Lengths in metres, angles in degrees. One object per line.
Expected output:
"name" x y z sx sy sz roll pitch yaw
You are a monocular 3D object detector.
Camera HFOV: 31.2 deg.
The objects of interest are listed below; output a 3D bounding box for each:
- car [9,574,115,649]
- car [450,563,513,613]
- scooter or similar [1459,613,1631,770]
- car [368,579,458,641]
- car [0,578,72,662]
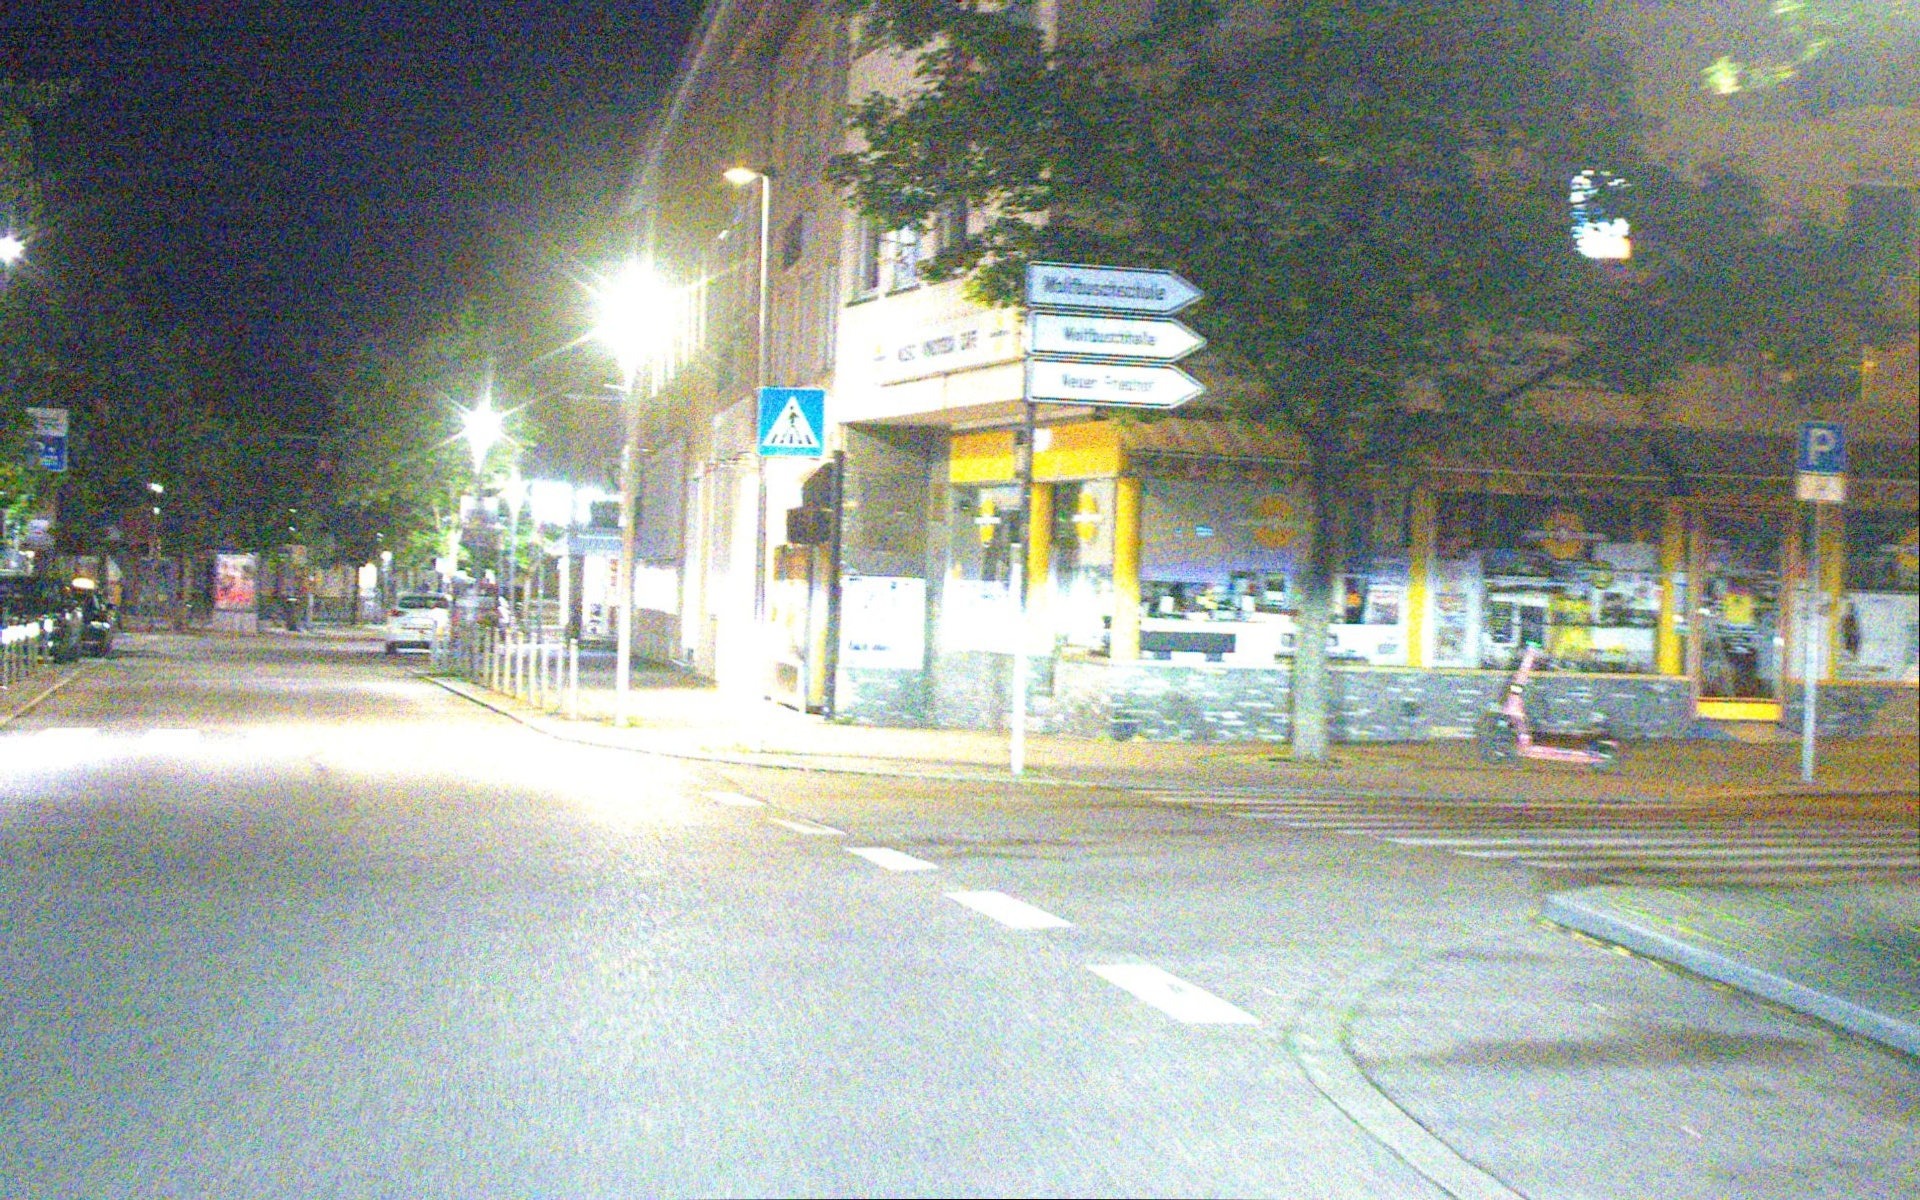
"car" -18.678 0.217 71.415 1.833 1.448 4.001 0 2 -19
"car" -15.516 -0.403 111.451 1.709 1.542 3.540 0 1 -13
"scooter or similar" 4.884 0.761 28.749 1.246 1.223 0.598 3 1 -5
"car" -13.072 0.213 82.051 1.833 1.354 4.001 0 1 -13
"car" -16.798 0.346 61.092 1.833 1.448 4.001 0 0 -13
